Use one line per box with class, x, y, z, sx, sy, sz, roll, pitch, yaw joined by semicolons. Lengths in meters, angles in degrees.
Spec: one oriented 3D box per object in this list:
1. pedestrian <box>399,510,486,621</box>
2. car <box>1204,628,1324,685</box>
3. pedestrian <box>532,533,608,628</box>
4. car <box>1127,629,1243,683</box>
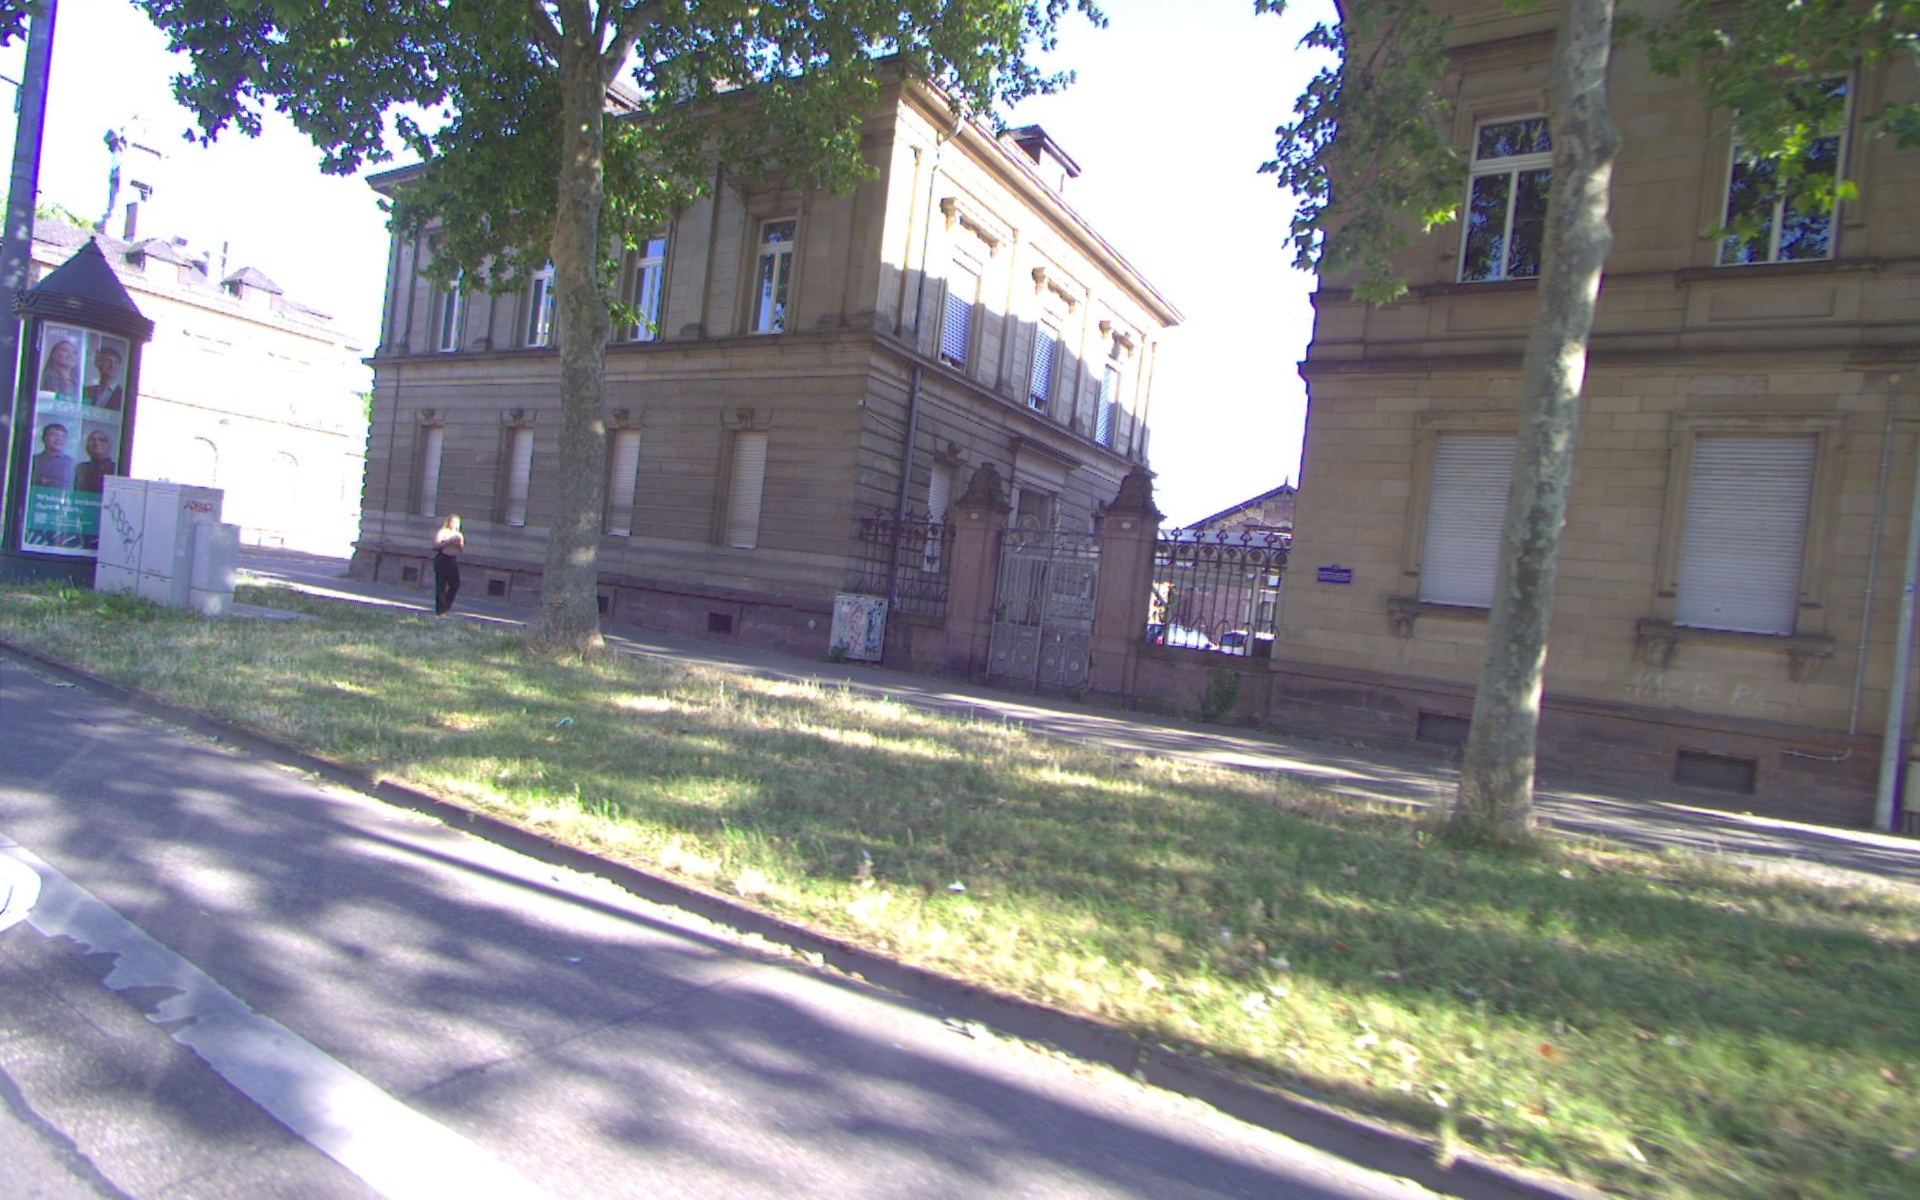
pedestrian;-8.728;-0.583;16.977;1.025;1.731;0.770;7;1;33
car;10.649;1.984;35.181;3.959;1.504;1.801;7;0;-33
pedestrian;-7.261;-0.362;18.745;0.970;1.626;0.770;7;1;33
car;8.295;2.065;37.003;3.959;1.504;1.801;7;0;-33
